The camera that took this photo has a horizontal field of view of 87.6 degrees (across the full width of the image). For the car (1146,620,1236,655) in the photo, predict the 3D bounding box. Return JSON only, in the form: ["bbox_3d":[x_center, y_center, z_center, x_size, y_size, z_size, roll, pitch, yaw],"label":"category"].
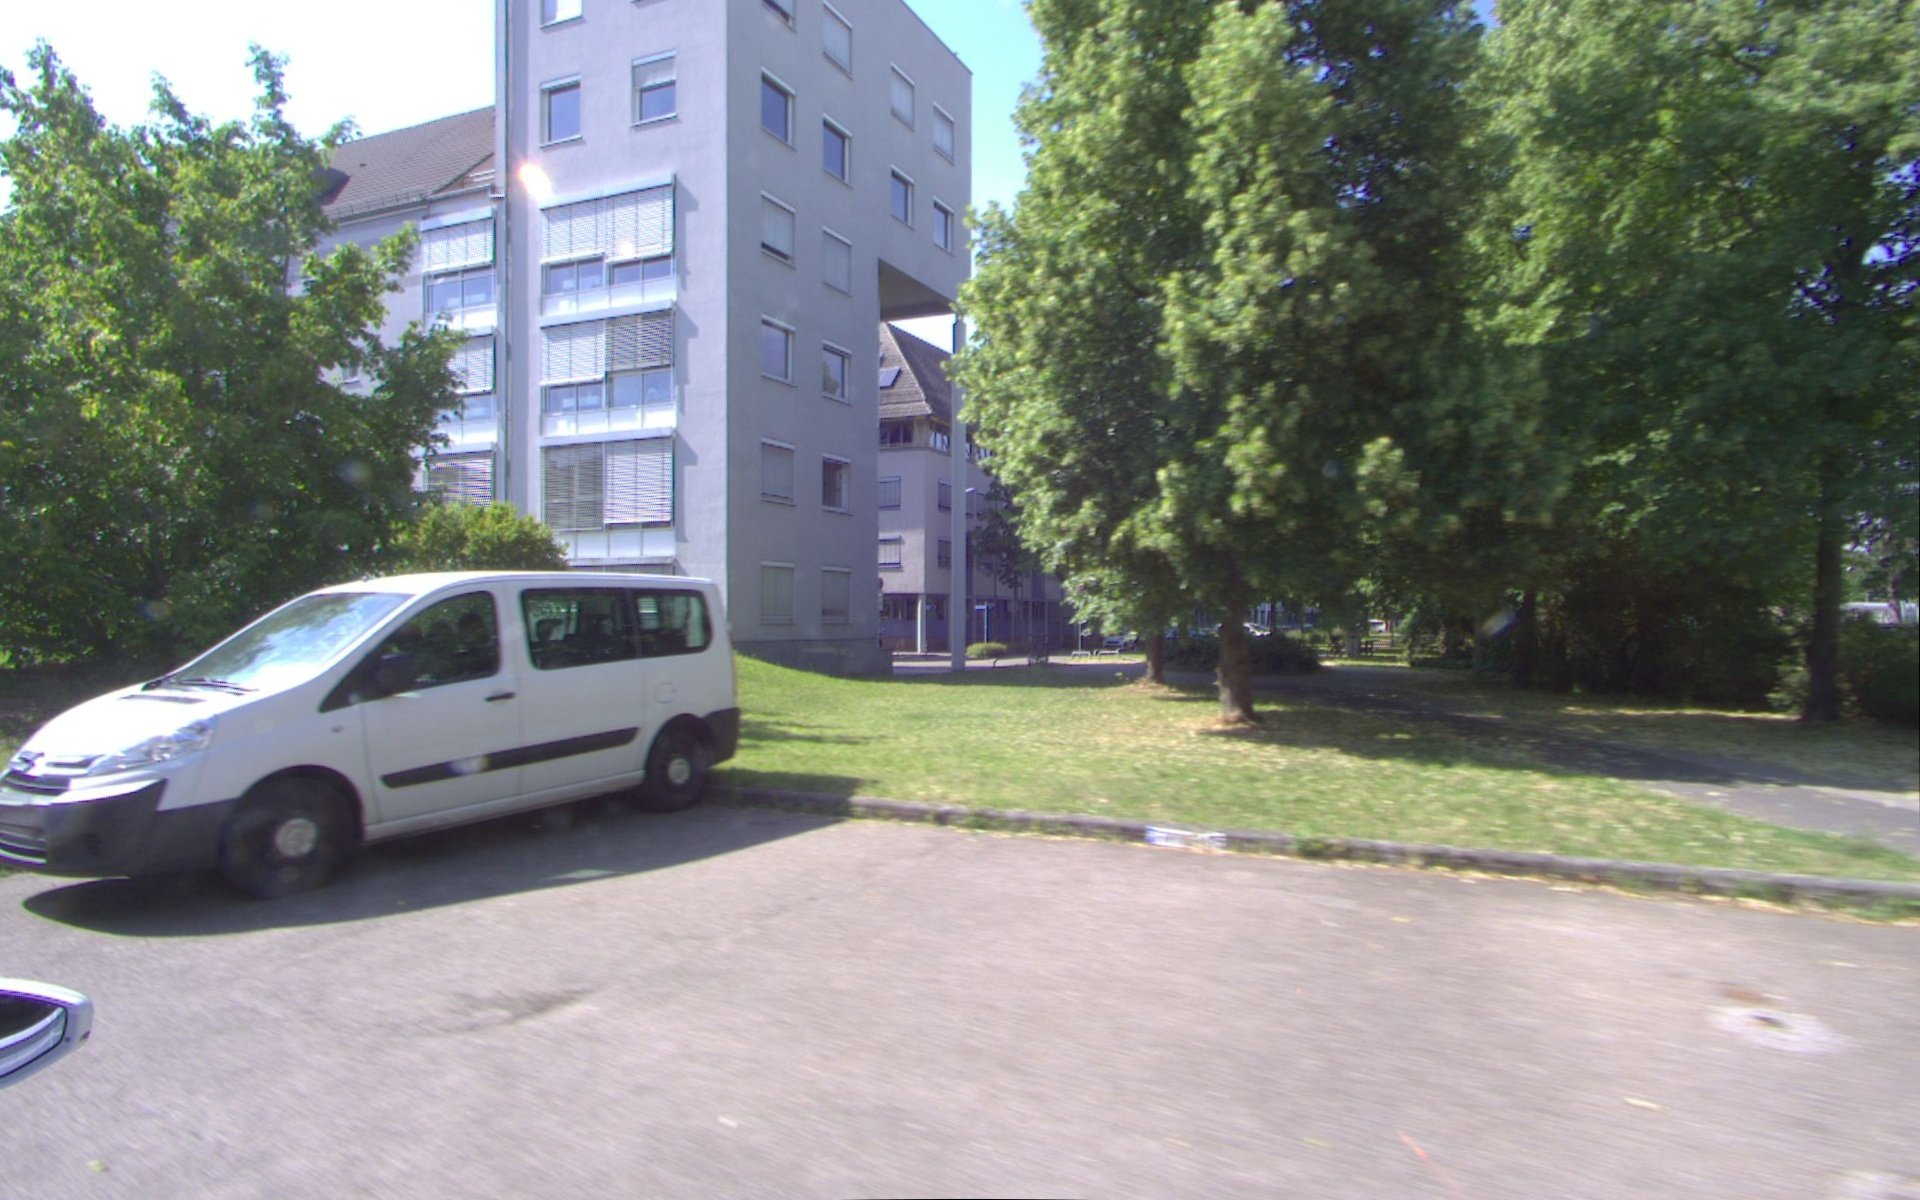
[{"bbox_3d":[12.344,1.987,53.648,4.303,1.662,1.990,1,1,31],"label":"car"}]

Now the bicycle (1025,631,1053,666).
[{"bbox_3d":[2.509,1.515,31.827,0.388,1.063,1.445,1,0,25],"label":"bicycle"}]

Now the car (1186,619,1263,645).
[{"bbox_3d":[17.119,2.041,64.906,4.486,1.568,1.764,0,-1,33],"label":"car"}]

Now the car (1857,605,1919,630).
[{"bbox_3d":[62.897,1.145,66.833,4.301,1.623,1.544,0,0,31],"label":"car"}]

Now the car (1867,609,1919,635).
[{"bbox_3d":[61.781,1.418,64.679,4.511,1.623,1.544,0,0,31],"label":"car"}]

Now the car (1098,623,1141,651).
[{"bbox_3d":[10.252,2.321,64.118,1.830,1.617,3.989,1,1,23],"label":"car"}]

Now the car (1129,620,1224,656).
[{"bbox_3d":[11.113,1.938,51.526,4.371,1.662,1.990,1,1,31],"label":"car"}]

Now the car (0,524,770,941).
[{"bbox_3d":[-3.806,0.669,7.395,1.970,1.958,5.019,0,-1,29],"label":"car"}]
